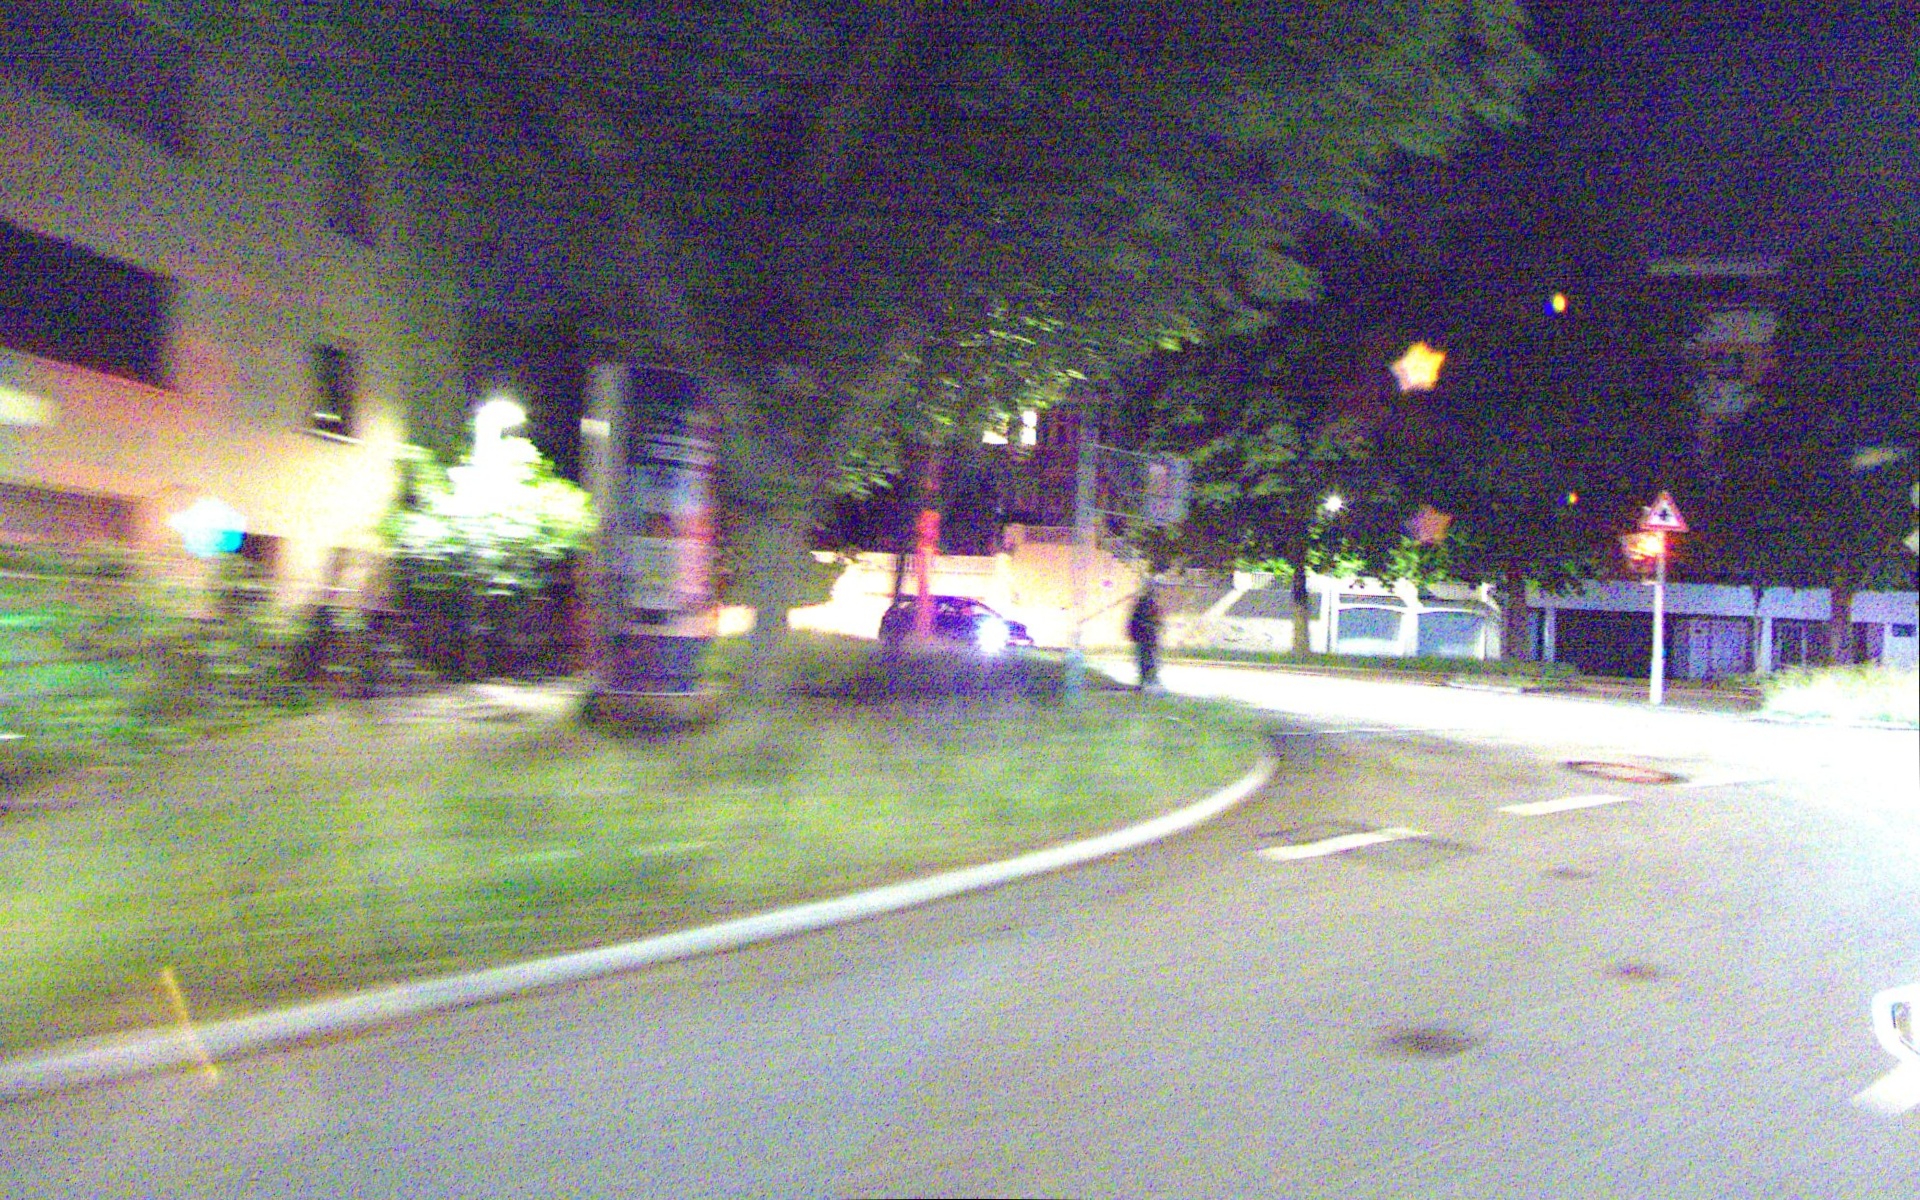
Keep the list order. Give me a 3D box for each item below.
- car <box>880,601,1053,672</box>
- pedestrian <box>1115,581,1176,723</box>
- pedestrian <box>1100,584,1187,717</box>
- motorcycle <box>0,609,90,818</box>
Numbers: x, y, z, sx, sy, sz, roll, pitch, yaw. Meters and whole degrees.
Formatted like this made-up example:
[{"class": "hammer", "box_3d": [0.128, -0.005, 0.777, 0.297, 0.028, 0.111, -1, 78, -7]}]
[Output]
[{"class": "car", "box_3d": [0.076, 0.848, 24.744, 4.231, 1.449, 1.721, 3, 1, 44]}, {"class": "pedestrian", "box_3d": [2.444, 0.666, 13.264, 0.514, 1.816, 0.691, 2, 1, -11]}, {"class": "pedestrian", "box_3d": [2.589, 0.693, 14.236, 0.719, 1.793, 0.959, 2, 1, -25]}, {"class": "motorcycle", "box_3d": [-6.208, 0.677, 5.595, 0.606, 1.246, 2.041, 2, 0, 16]}]
